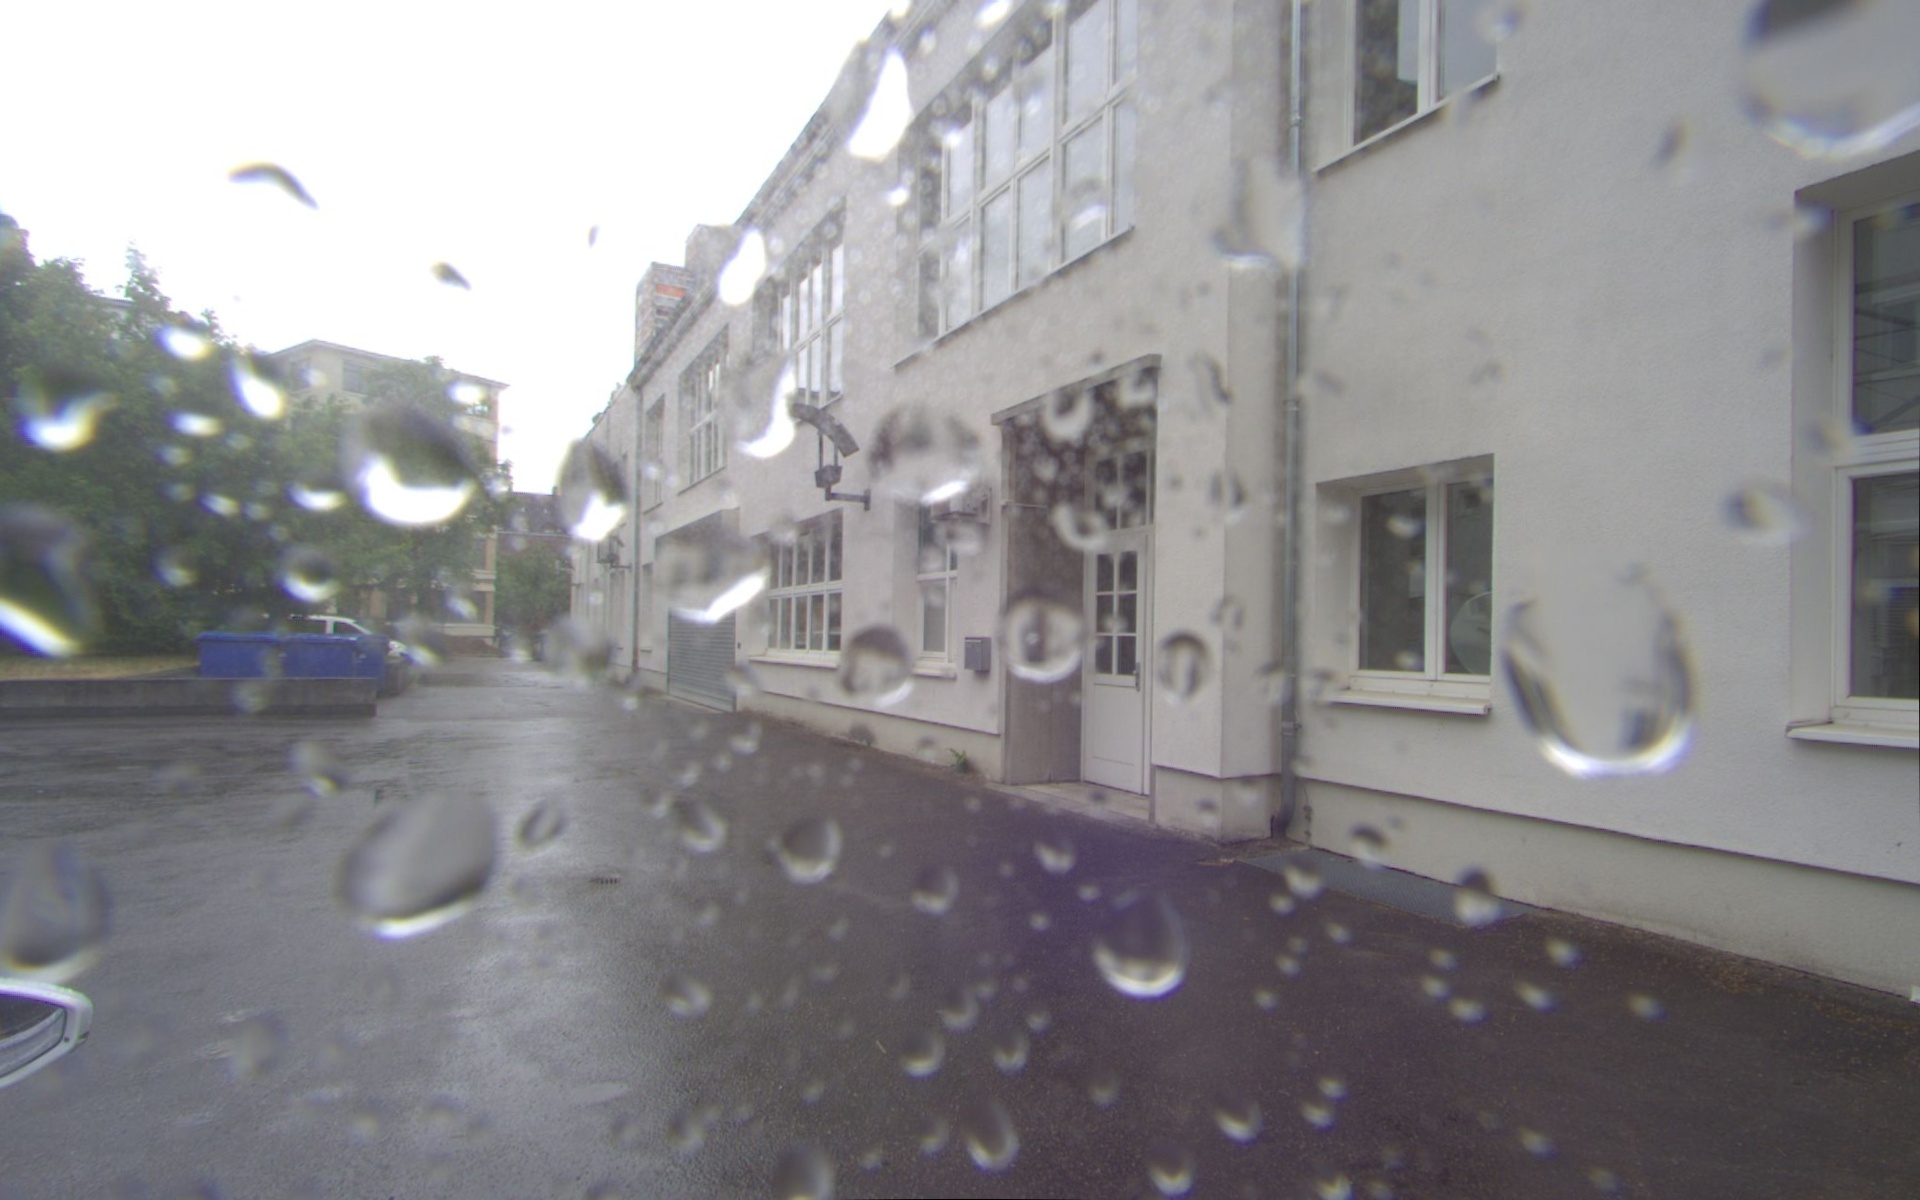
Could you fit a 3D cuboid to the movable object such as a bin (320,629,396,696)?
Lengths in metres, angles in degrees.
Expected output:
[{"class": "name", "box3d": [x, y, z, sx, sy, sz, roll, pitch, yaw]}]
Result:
[{"class": "movable object such as a bin", "box3d": [-12.950, 1.345, 21.621, 1.294, 1.374, 1.898, 1, -3, -28]}]

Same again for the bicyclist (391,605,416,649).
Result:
[{"class": "bicyclist", "box3d": [-26.230, 1.264, 47.215, 0.736, 2.039, 0.705, 1, -1, 33]}]

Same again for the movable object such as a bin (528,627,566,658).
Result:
[{"class": "movable object such as a bin", "box3d": [-19.958, 2.059, 48.376, 1.472, 1.466, 1.307, 1, -3, -33]}]

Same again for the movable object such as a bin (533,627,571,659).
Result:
[{"class": "movable object such as a bin", "box3d": [-19.261, 2.016, 47.229, 1.472, 1.466, 1.307, 1, -3, -33]}]

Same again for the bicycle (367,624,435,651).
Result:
[{"class": "bicycle", "box3d": [-26.286, 1.769, 47.140, 0.727, 1.201, 2.726, 1, -1, 33]}]

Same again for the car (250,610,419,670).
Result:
[{"class": "car", "box3d": [-21.135, 1.365, 34.116, 4.625, 1.904, 2.117, 1, -4, -26]}]

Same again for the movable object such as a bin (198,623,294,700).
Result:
[{"class": "movable object such as a bin", "box3d": [-13.591, 1.165, 19.142, 1.215, 1.374, 1.963, 1, -3, -28]}]

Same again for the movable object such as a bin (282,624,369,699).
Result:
[{"class": "movable object such as a bin", "box3d": [-12.454, 1.204, 19.737, 1.294, 1.374, 1.898, 1, -3, -28]}]

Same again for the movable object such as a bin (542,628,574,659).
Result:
[{"class": "movable object such as a bin", "box3d": [-18.425, 1.998, 45.875, 1.172, 1.391, 1.307, 1, -3, -33]}]
